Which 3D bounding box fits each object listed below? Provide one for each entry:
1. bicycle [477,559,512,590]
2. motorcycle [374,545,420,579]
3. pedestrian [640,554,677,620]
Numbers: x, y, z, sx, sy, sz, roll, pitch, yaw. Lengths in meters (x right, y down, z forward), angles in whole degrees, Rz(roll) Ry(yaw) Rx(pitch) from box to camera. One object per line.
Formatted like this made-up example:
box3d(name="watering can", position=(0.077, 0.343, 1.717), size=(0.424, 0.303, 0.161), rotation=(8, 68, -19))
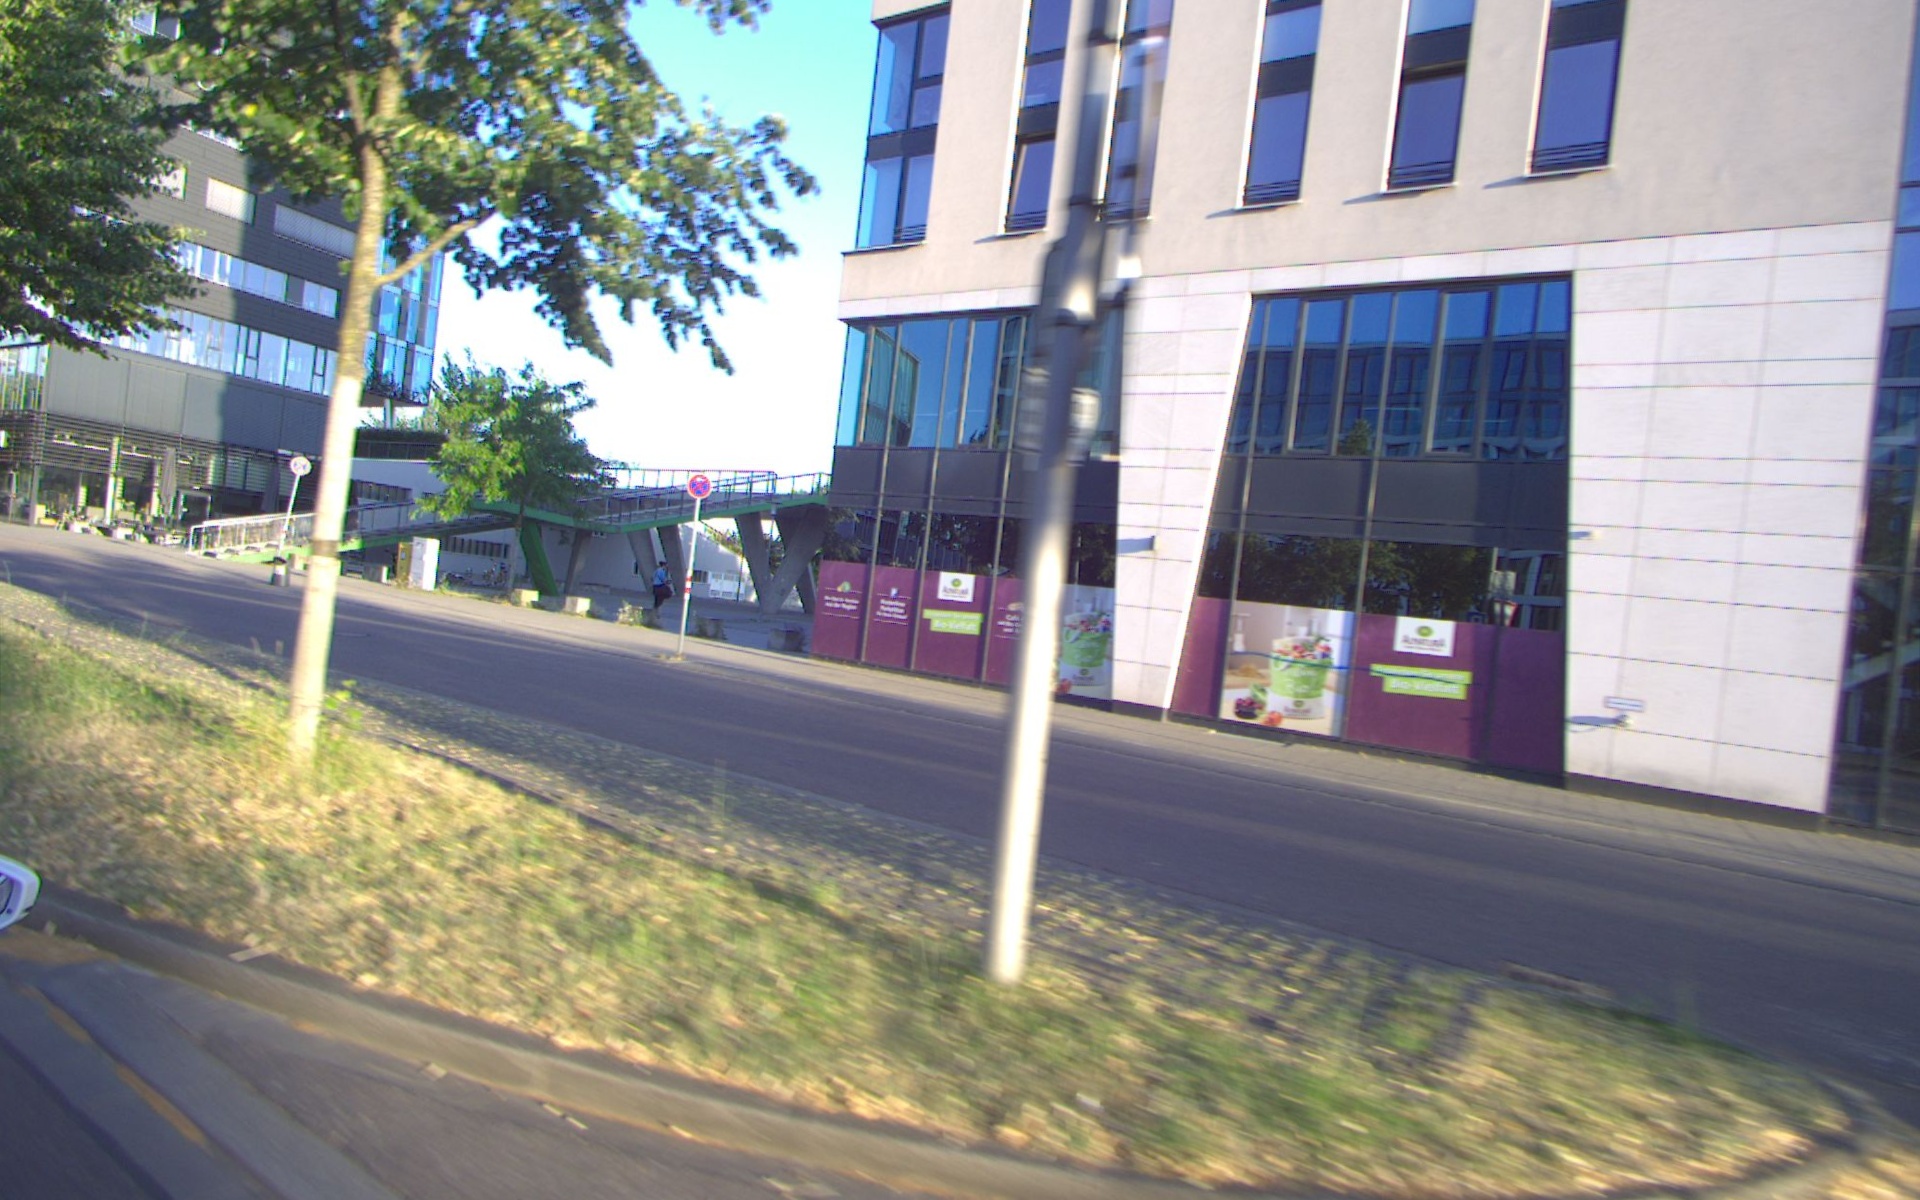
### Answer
box3d(name="bicycle", position=(-19.176, -1.052, 41.417), size=(1.743, 1.065, 0.567), rotation=(7, 0, 42))
box3d(name="motorcycle", position=(-22.130, -1.504, 39.531), size=(2.297, 1.107, 0.650), rotation=(7, 0, 38))
box3d(name="pedestrian", position=(-10.010, -0.421, 33.445), size=(0.916, 2.038, 0.889), rotation=(7, 0, -15))
